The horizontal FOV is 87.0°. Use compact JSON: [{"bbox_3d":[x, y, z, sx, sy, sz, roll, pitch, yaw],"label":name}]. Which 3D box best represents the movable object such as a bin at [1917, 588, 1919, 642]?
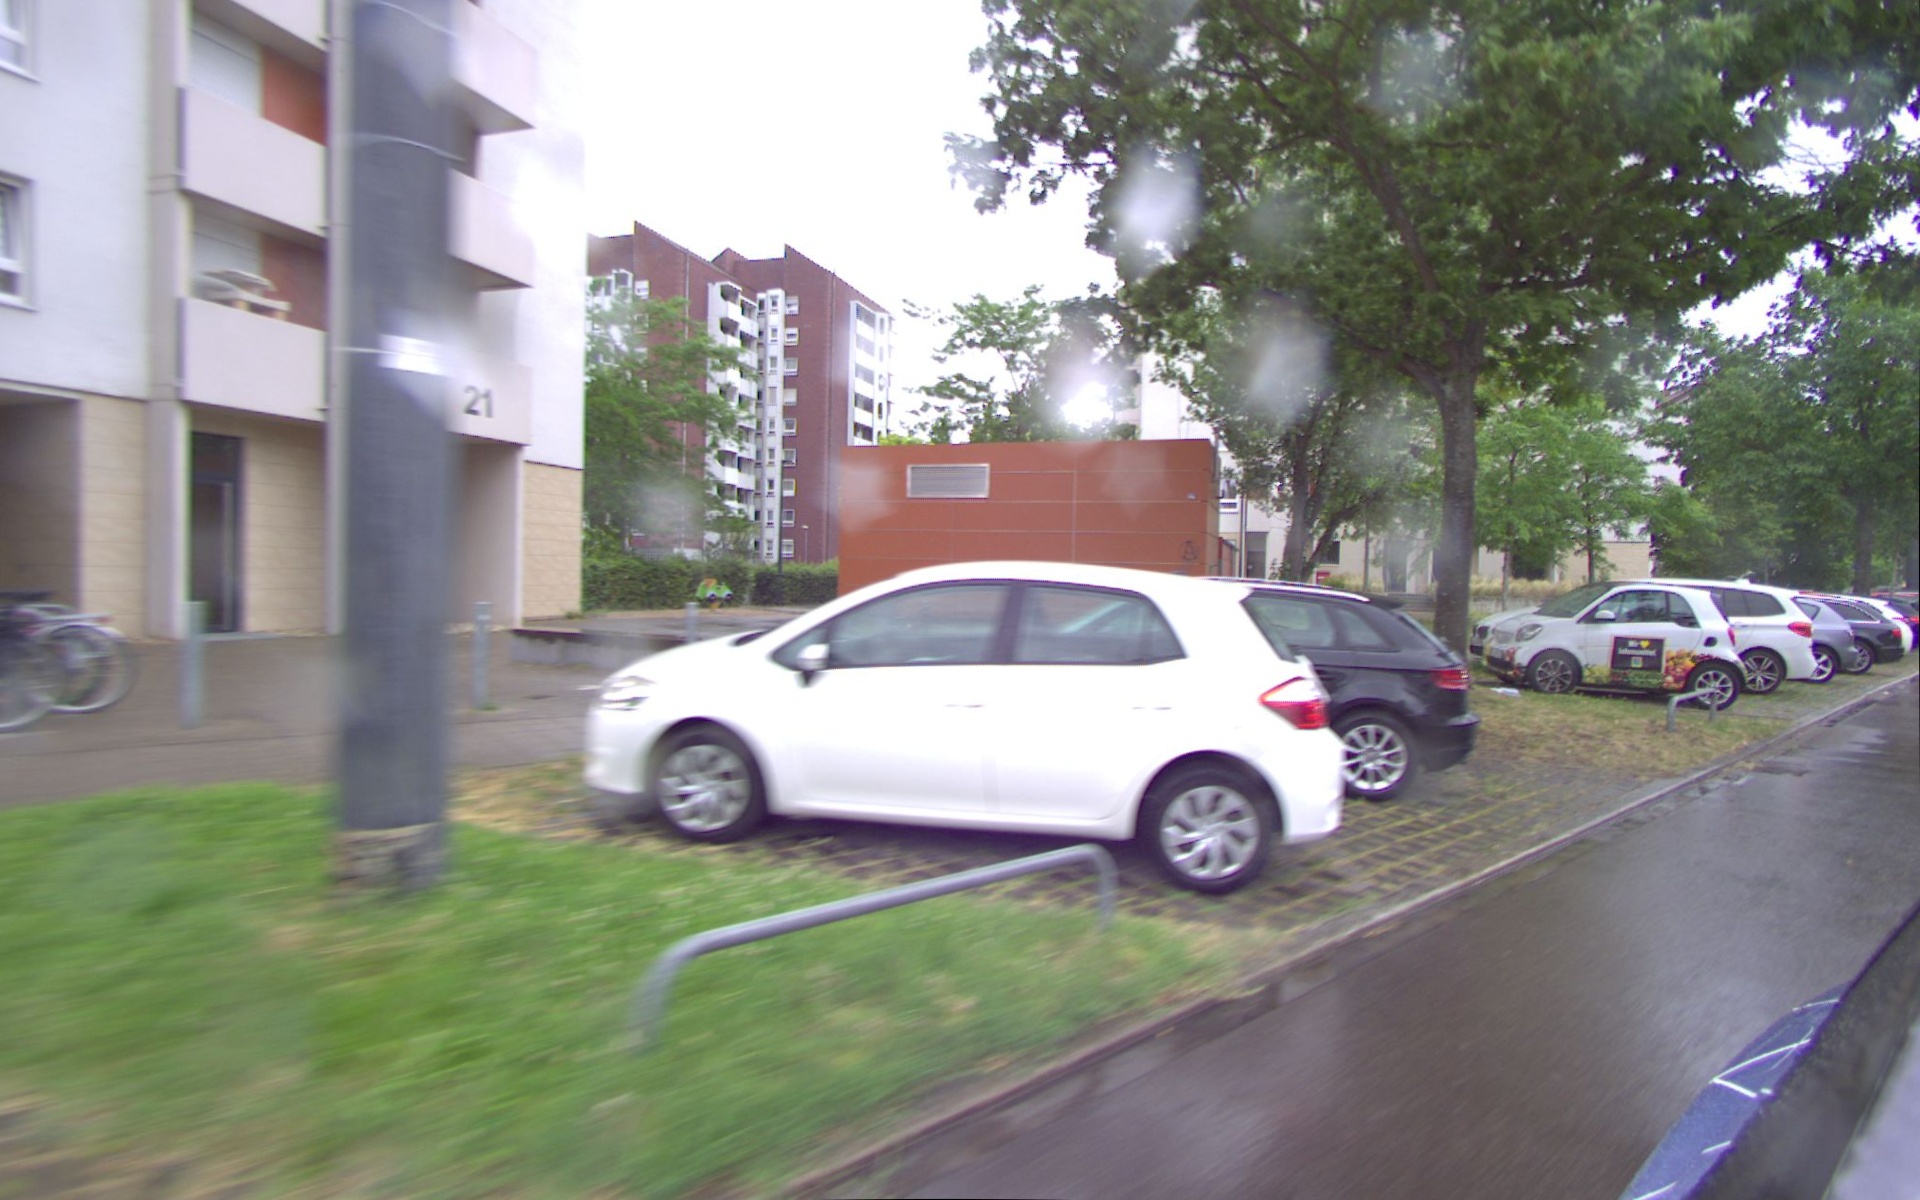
[{"bbox_3d":[28.226,0.457,28.732,1.152,1.581,1.363,0,1,26],"label":"movable object such as a bin"}]

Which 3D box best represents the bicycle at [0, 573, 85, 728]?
[{"bbox_3d":[-6.978,0.336,6.510,2.022,1.018,0.662,-1,2,-41],"label":"bicycle"}]

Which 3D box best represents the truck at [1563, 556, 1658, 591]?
[{"bbox_3d":[46.715,-1.922,72.867,5.631,2.468,2.101,1,2,31],"label":"truck"}]

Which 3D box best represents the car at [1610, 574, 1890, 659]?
[{"bbox_3d":[17.165,0.302,22.231,4.392,1.445,1.804,4,3,11],"label":"car"}]

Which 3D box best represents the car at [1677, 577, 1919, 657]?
[{"bbox_3d":[19.793,0.354,23.699,4.398,1.483,1.812,4,3,15],"label":"car"}]

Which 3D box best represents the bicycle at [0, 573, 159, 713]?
[{"bbox_3d":[-7.256,0.308,7.512,2.022,1.018,0.662,-1,2,-41],"label":"bicycle"}]

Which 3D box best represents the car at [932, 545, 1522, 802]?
[{"bbox_3d":[1.898,0.431,7.869,3.885,1.449,1.679,4,3,13],"label":"car"}]

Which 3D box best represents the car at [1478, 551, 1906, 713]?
[{"bbox_3d":[9.408,0.334,13.393,4.123,1.692,1.679,4,3,13],"label":"car"}]

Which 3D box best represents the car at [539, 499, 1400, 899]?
[{"bbox_3d":[0.019,0.379,5.745,4.119,1.566,1.761,4,3,10],"label":"car"}]

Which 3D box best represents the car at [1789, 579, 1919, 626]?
[{"bbox_3d":[33.841,0.098,37.809,3.988,1.506,1.718,4,2,14],"label":"car"}]

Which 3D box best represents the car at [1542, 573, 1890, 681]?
[{"bbox_3d":[12.919,0.394,17.622,4.398,1.427,1.761,4,3,15],"label":"car"}]

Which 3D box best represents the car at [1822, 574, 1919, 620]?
[{"bbox_3d":[36.483,-0.131,39.433,3.986,1.706,1.718,1,2,14],"label":"car"}]

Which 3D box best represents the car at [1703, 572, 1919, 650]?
[{"bbox_3d":[21.971,0.248,25.836,4.403,1.560,1.676,5,4,18],"label":"car"}]

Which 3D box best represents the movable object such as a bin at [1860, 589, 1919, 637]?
[{"bbox_3d":[27.320,0.364,29.619,0.981,1.329,1.183,0,1,11],"label":"movable object such as a bin"}]

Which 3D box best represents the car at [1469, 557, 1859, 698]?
[{"bbox_3d":[10.491,0.332,15.435,4.390,1.692,1.808,4,3,10],"label":"car"}]

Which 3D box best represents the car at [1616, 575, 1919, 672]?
[{"bbox_3d":[15.594,0.397,19.629,4.399,1.445,1.677,4,3,16],"label":"car"}]
